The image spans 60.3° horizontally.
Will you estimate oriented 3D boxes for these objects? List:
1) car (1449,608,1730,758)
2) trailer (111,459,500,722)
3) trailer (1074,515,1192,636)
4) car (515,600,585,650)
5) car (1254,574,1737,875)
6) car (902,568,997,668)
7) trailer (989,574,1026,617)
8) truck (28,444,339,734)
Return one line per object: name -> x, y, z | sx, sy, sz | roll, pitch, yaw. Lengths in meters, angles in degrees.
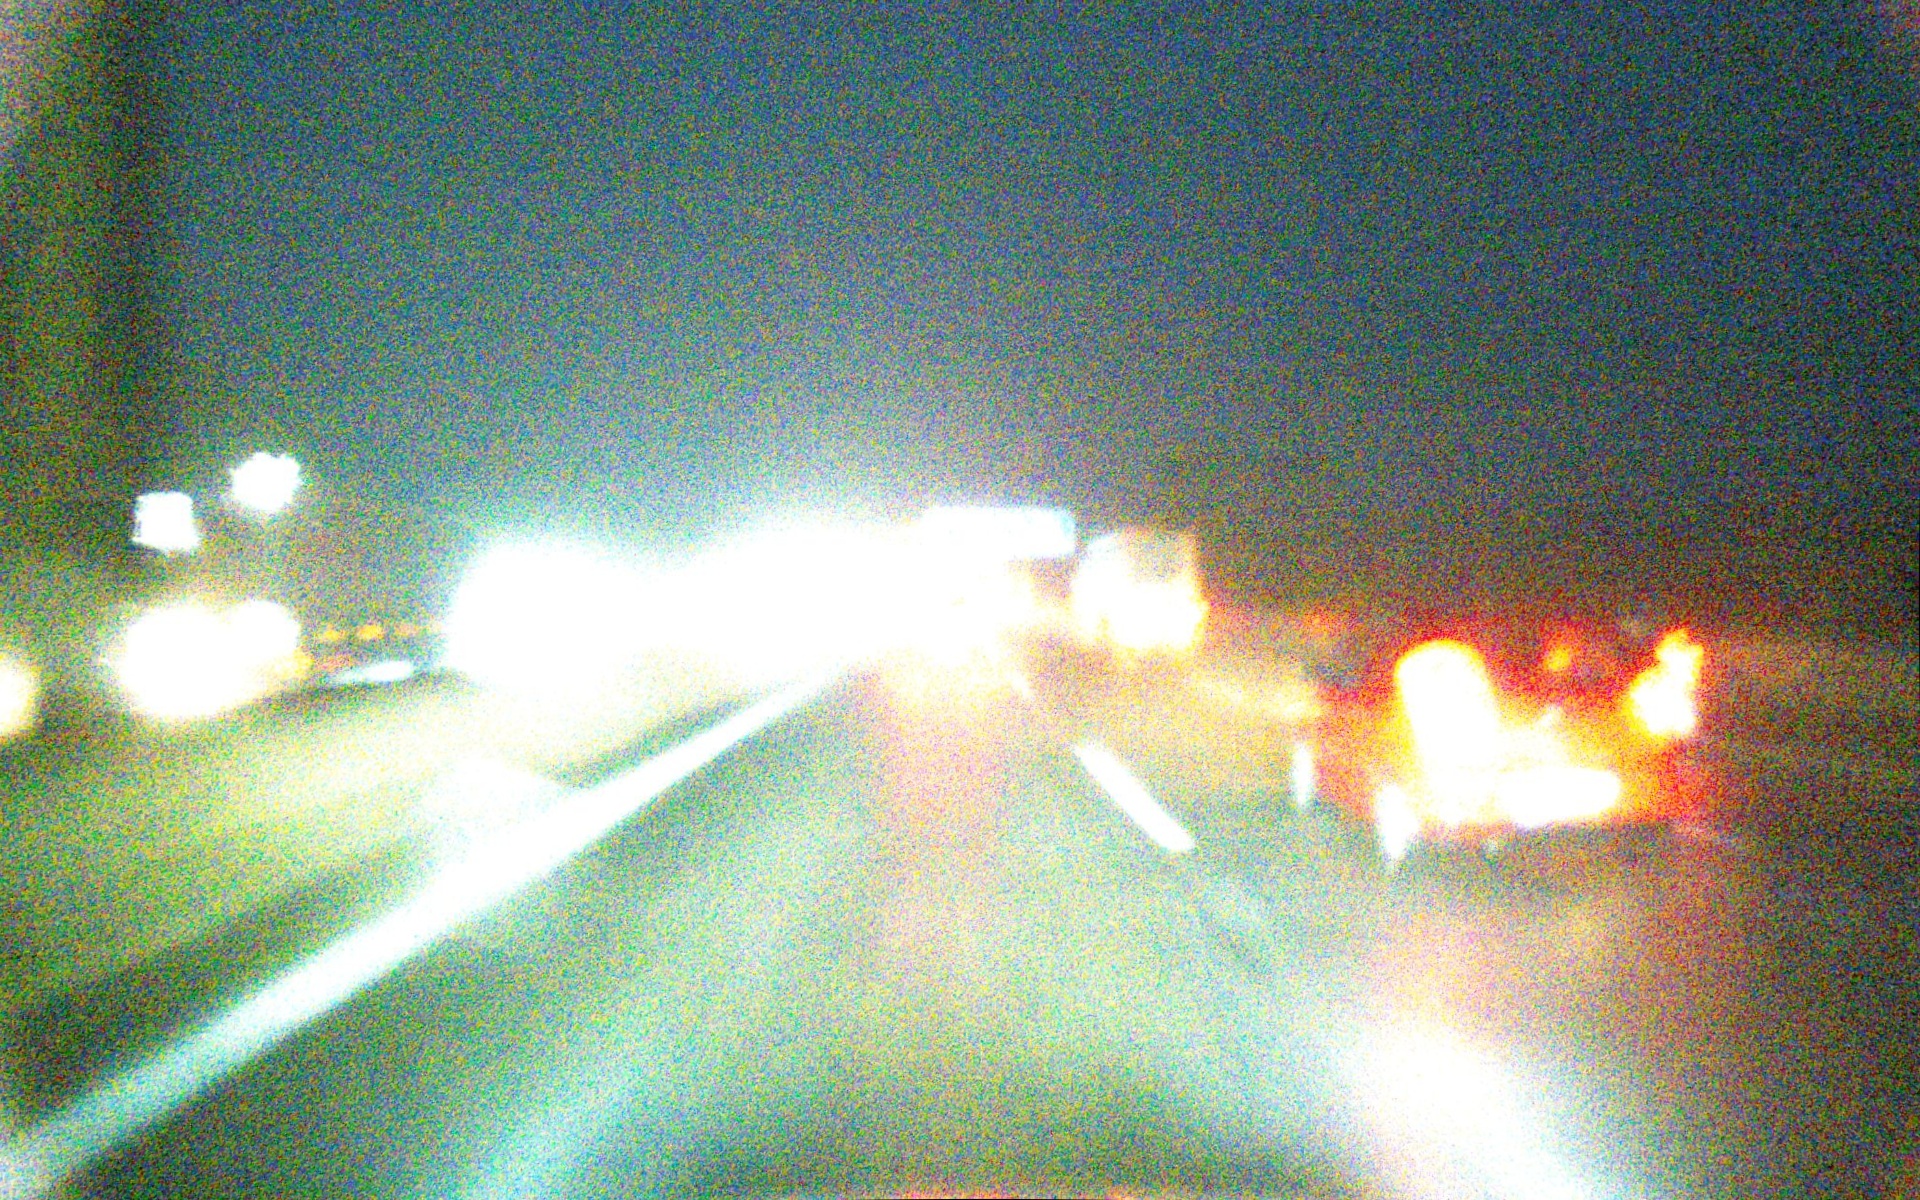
car -> 7.135, 0.873, 19.191 | 1.606, 1.529, 4.011 | 0, 0, -2
trailer -> -13.240, -0.167, 35.658 | 2.636, 4.454, 14.629 | 1, 0, -1
trailer -> 6.586, -0.790, 65.401 | 2.844, 4.180, 14.483 | -1, -1, -1
car -> -17.681, 1.072, 71.592 | 1.953, 2.049, 4.390 | -1, -1, -1
car -> 3.259, 0.704, 11.077 | 1.705, 1.603, 4.492 | 0, -1, -1
car -> -0.267, 0.392, 36.804 | 1.953, 2.049, 3.999 | 2, 0, -1
trailer -> 5.052, -0.373, 177.542 | 2.980, 4.181, 13.821 | -2, -1, -2
truck -> -13.173, -0.169, 28.639 | 2.636, 4.458, 5.734 | 1, 0, -1
